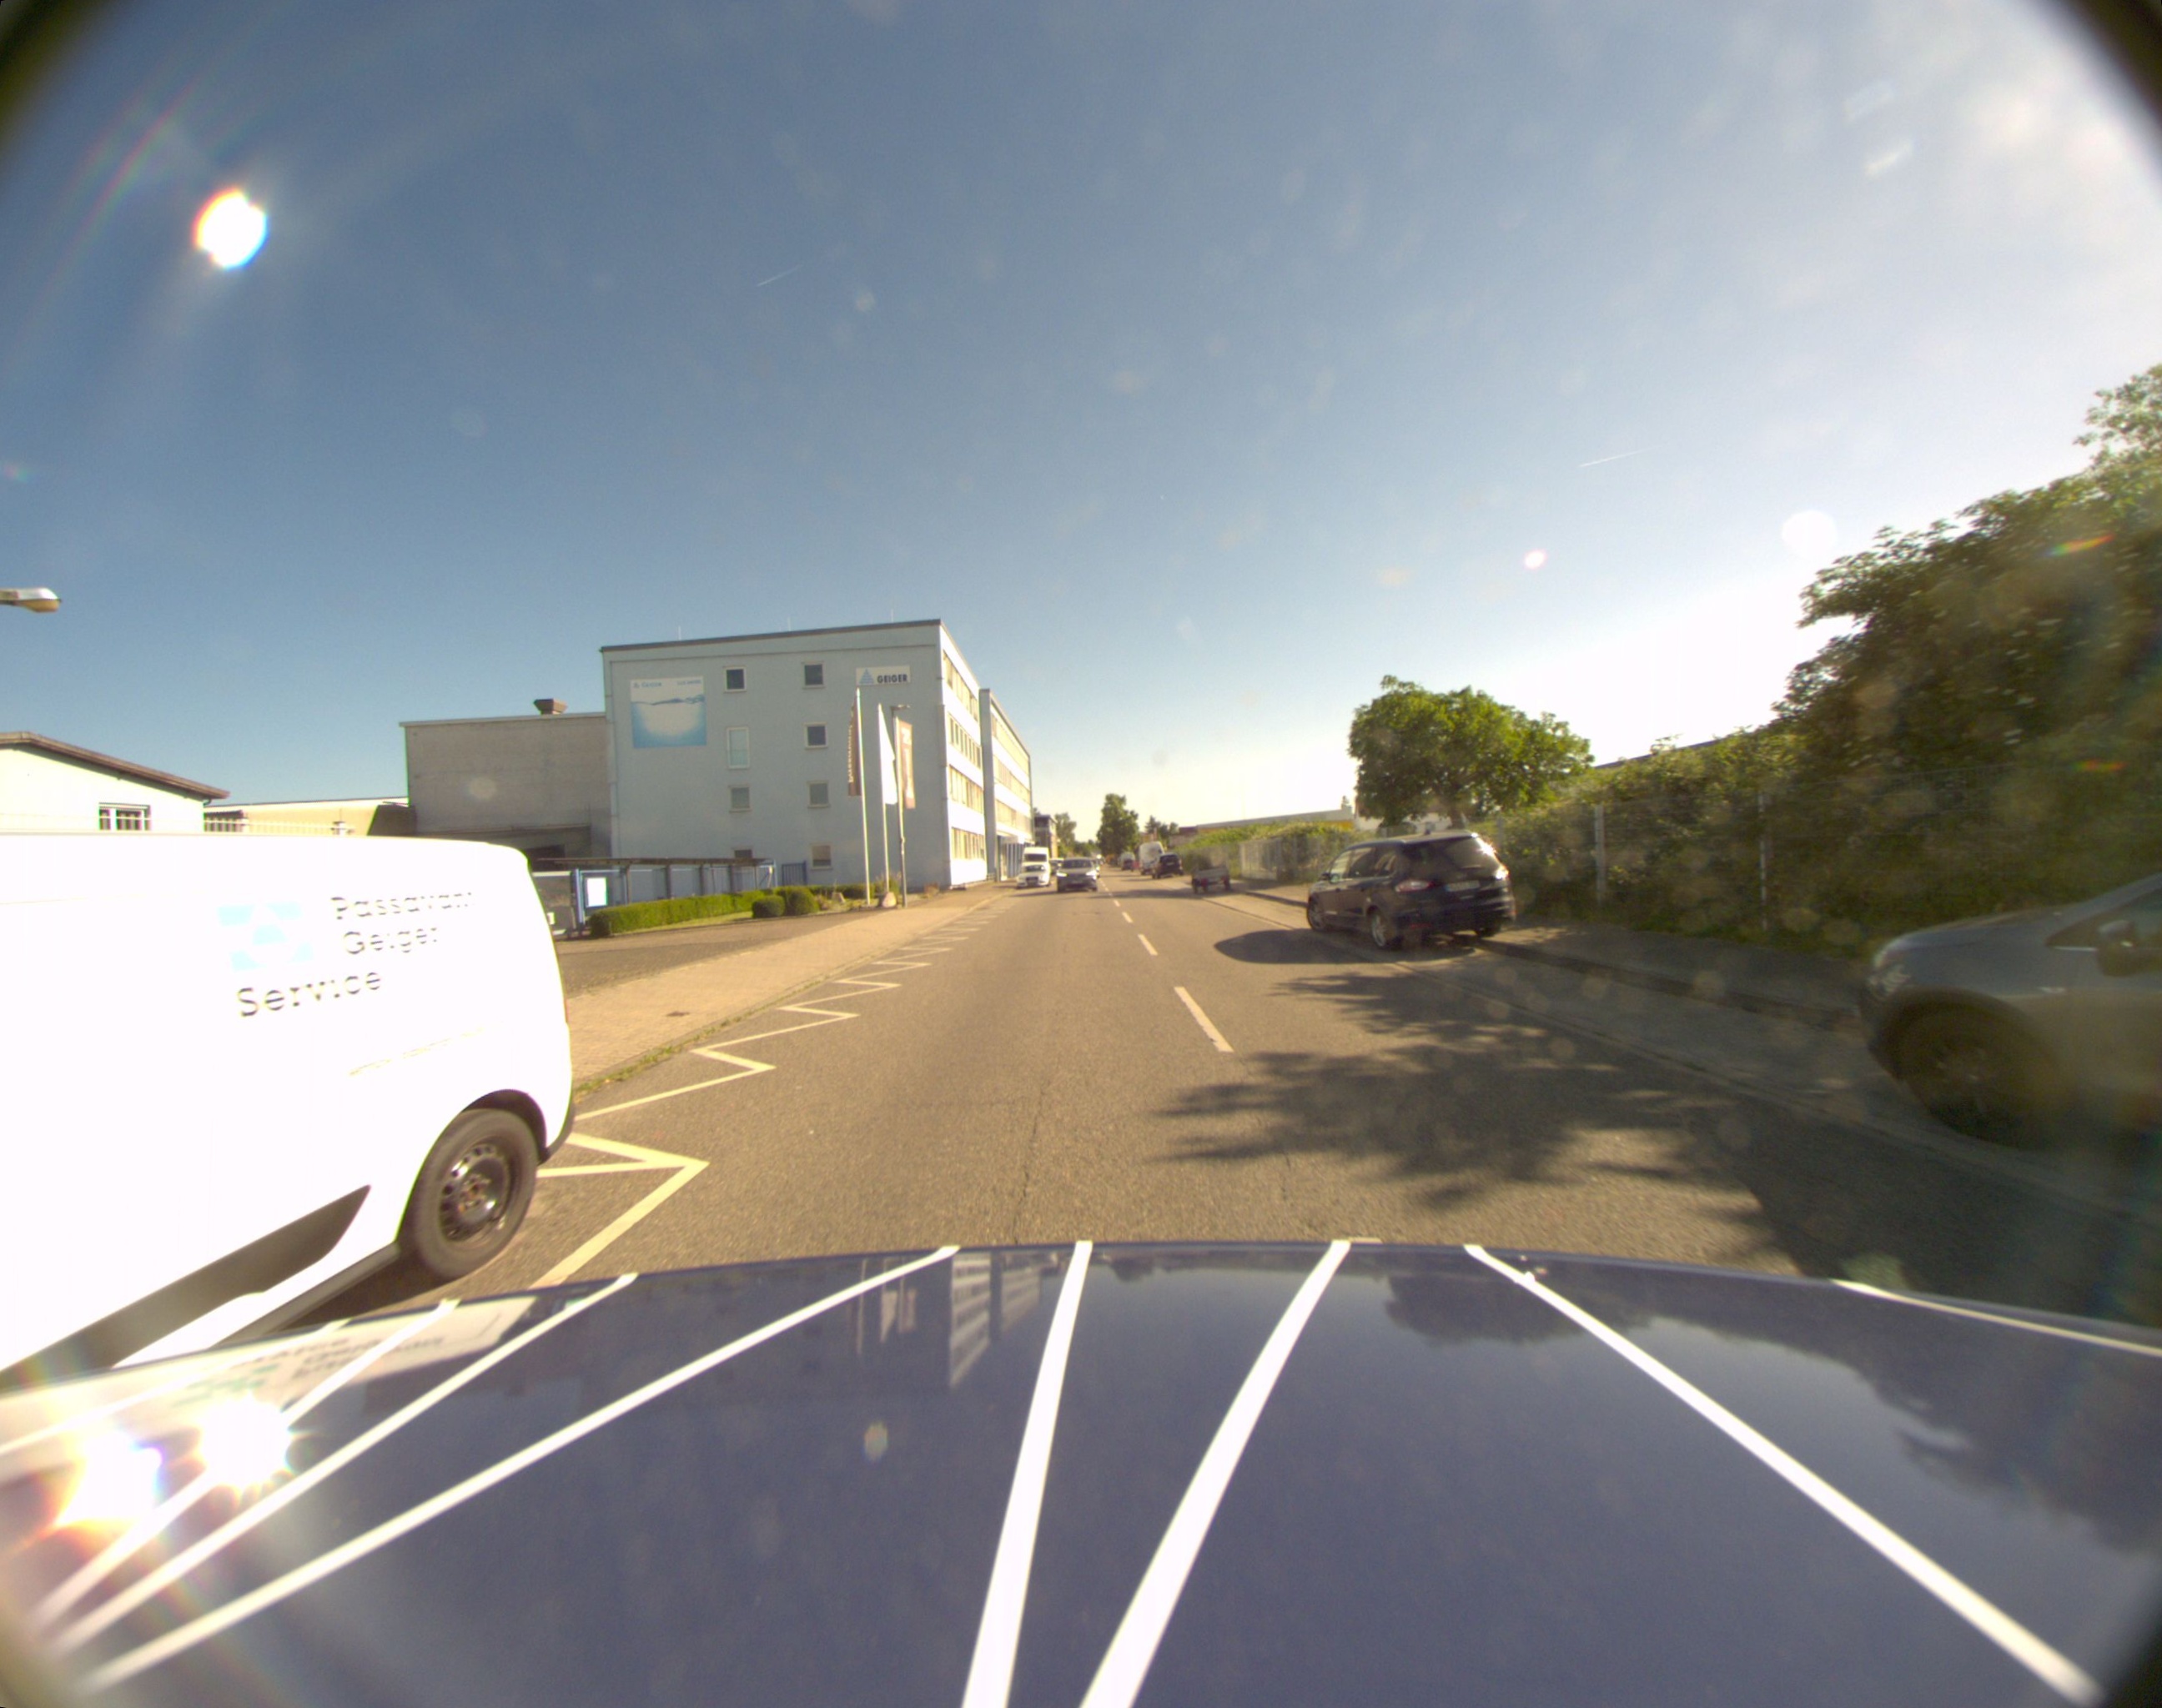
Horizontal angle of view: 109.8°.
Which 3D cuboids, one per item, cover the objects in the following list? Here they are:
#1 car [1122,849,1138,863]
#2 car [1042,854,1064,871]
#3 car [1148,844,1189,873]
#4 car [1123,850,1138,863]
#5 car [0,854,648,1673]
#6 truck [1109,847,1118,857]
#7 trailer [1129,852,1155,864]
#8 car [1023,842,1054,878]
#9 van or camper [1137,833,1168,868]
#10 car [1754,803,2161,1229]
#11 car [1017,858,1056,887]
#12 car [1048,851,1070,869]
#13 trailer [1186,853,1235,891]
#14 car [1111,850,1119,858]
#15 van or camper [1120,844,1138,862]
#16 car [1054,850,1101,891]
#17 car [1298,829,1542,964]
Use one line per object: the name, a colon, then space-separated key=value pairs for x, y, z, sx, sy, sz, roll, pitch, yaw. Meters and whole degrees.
car: x=7.072 y=0.269 z=109.267 sx=1.998 sy=1.728 sz=4.576 roll=-7 pitch=0 yaw=4
car: x=-2.723 y=0.811 z=75.671 sx=1.894 sy=1.551 sz=5.090 roll=-4 pitch=0 yaw=0
car: x=6.027 y=0.280 z=52.781 sx=2.035 sy=1.684 sz=5.106 roll=-7 pitch=0 yaw=-1
car: x=6.745 y=0.376 z=103.991 sx=1.804 sy=1.501 sz=5.002 roll=-7 pitch=0 yaw=1
car: x=-3.405 y=0.997 z=1.627 sx=1.890 sy=1.787 sz=5.103 roll=-5 pitch=1 yaw=0
truck: x=9.335 y=-0.659 z=218.466 sx=2.173 sy=2.698 sz=5.749 roll=-5 pitch=1 yaw=1
trailer: x=6.742 y=0.480 z=84.671 sx=2.382 sy=1.073 sz=6.246 roll=-7 pitch=-1 yaw=0
car: x=-3.176 y=0.455 z=57.599 sx=1.999 sy=2.582 sz=6.051 roll=-1 pitch=-1 yaw=0
van or camper: x=6.120 y=-0.284 z=65.629 sx=1.971 sy=2.669 sz=5.948 roll=-8 pitch=0 yaw=3
car: x=5.433 y=0.645 z=2.687 sx=1.913 sy=1.653 sz=4.462 roll=-7 pitch=0 yaw=-2
car: x=-2.637 y=1.064 z=45.976 sx=1.899 sy=1.397 sz=5.123 roll=-5 pitch=1 yaw=0
car: x=-2.384 y=0.588 z=83.374 sx=1.894 sy=1.821 sz=5.091 roll=-4 pitch=0 yaw=2
trailer: x=5.327 y=0.703 z=31.567 sx=1.480 sy=1.346 sz=3.078 roll=-5 pitch=0 yaw=1
car: x=8.409 y=-0.023 z=186.877 sx=1.779 sy=1.838 sz=4.616 roll=-5 pitch=0 yaw=4
van or camper: x=7.256 y=-0.139 z=114.812 sx=2.076 sy=2.534 sz=6.404 roll=-7 pitch=0 yaw=1
car: x=-0.143 y=0.753 z=36.657 sx=1.998 sy=1.750 sz=5.016 roll=-4 pitch=0 yaw=1
car: x=5.340 y=0.557 z=12.819 sx=1.796 sy=1.721 sz=4.801 roll=-4 pitch=1 yaw=-1
